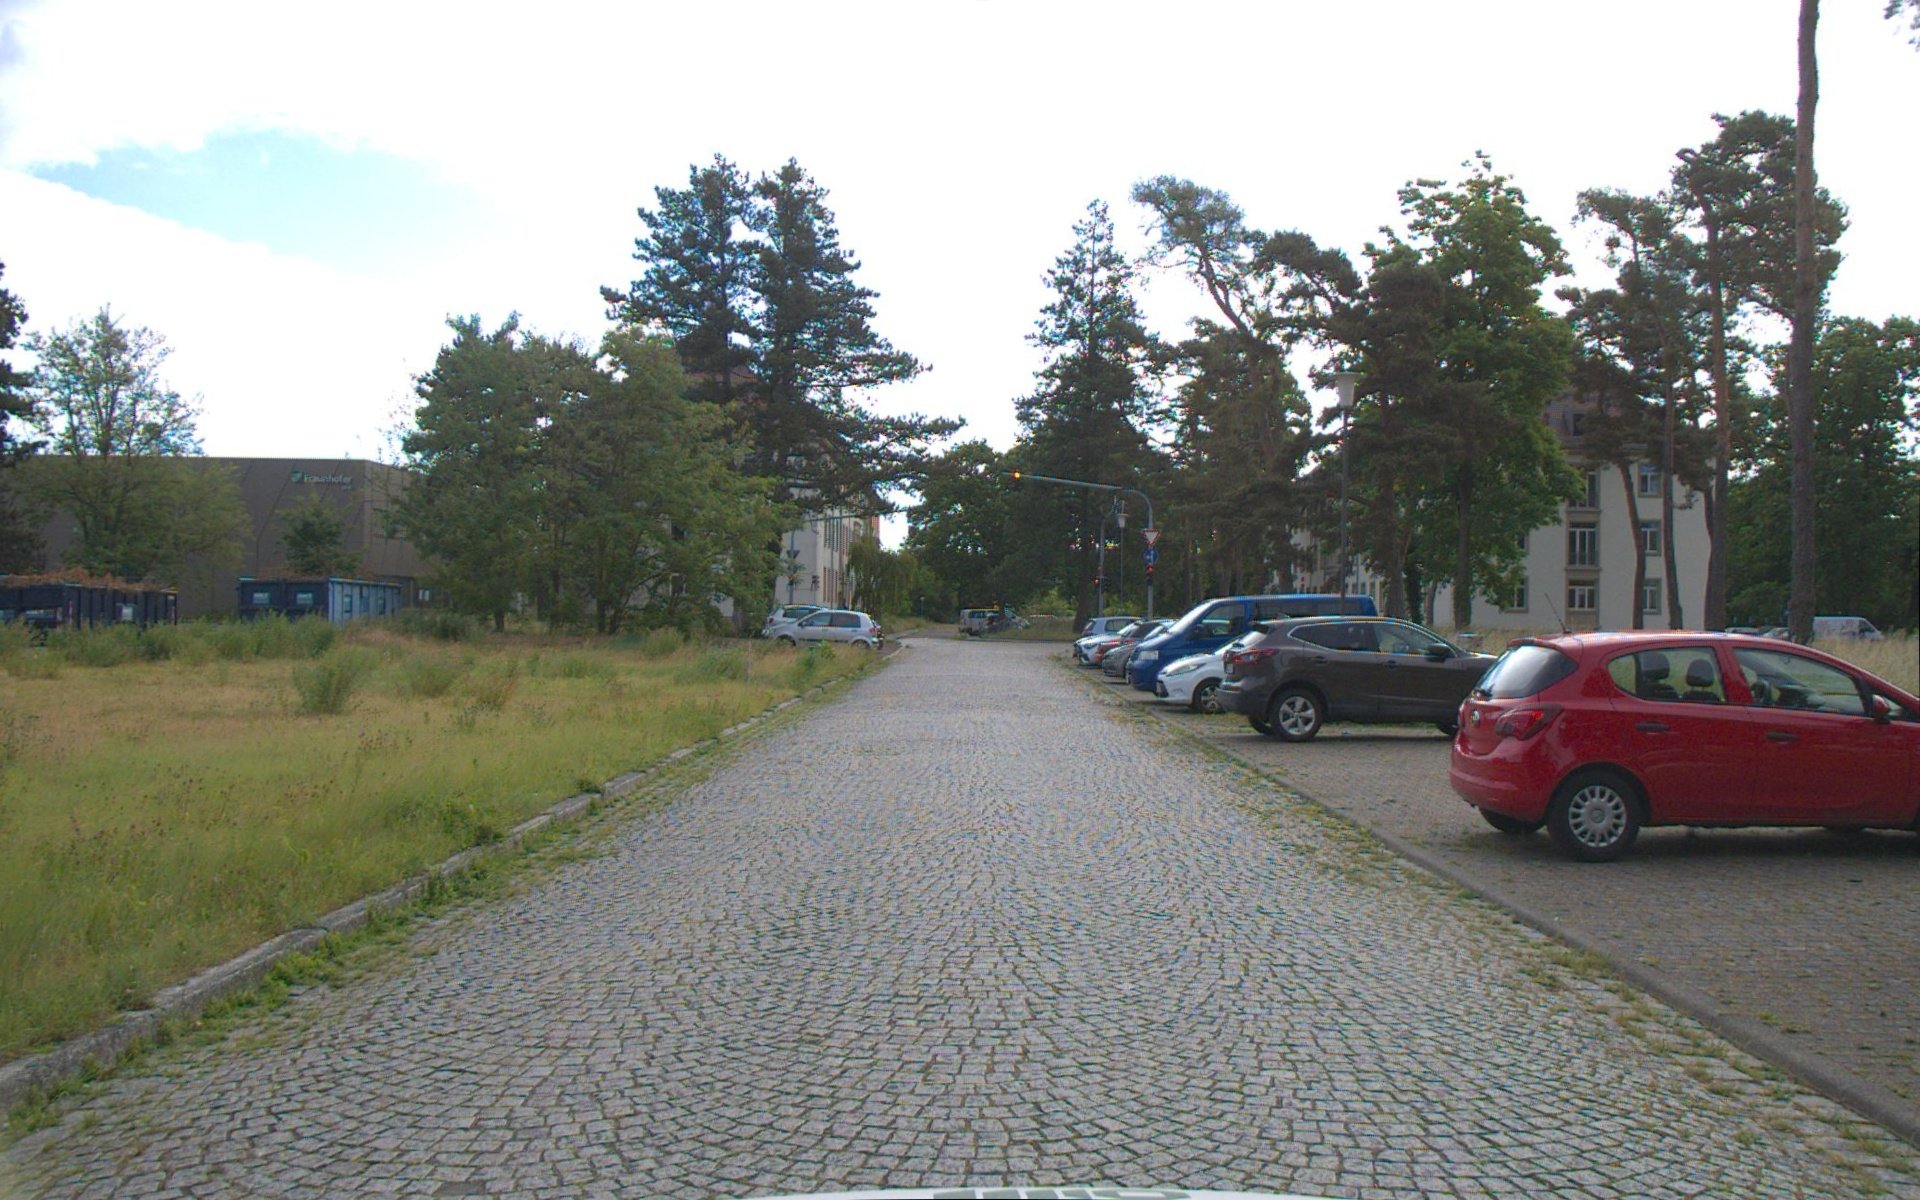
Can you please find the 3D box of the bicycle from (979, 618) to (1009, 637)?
[{"bbox_3d":[2.264,1.837,110.213,1.845,1.191,0.664,2,-1,-5],"label":"bicycle"}]

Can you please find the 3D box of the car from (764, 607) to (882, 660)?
[{"bbox_3d":[-4.417,1.063,53.695,3.646,1.506,1.672,3,-1,-3],"label":"car"}]

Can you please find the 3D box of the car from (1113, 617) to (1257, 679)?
[{"bbox_3d":[5.666,1.206,41.945,3.433,1.513,1.743,0,-1,0],"label":"car"}]

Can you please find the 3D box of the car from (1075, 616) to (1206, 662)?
[{"bbox_3d":[5.932,1.272,54.594,4.054,1.489,1.632,0,-1,-5],"label":"car"}]

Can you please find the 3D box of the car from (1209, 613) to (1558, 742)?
[{"bbox_3d":[5.526,0.985,21.965,4.118,1.623,1.952,0,0,-2],"label":"car"}]

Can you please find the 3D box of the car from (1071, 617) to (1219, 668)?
[{"bbox_3d":[5.483,1.258,49.275,4.105,1.462,1.752,0,0,-7],"label":"car"}]

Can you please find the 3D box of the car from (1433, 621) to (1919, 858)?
[{"bbox_3d":[5.517,0.915,11.660,3.843,1.523,1.784,0,-1,-1],"label":"car"}]

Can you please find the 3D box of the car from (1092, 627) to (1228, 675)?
[{"bbox_3d":[5.364,1.375,44.570,3.512,1.244,1.629,0,0,1],"label":"car"}]

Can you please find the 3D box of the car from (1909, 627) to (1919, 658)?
[{"bbox_3d":[58.100,2.566,96.780,4.047,1.835,1.900,2,-1,2],"label":"car"}]

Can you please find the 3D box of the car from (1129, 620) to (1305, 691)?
[{"bbox_3d":[5.566,1.198,36.173,3.578,1.505,1.765,0,0,0],"label":"car"}]

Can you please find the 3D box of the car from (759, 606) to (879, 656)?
[{"bbox_3d":[-5.035,1.097,59.098,4.214,1.763,1.651,0,-1,-5],"label":"car"}]

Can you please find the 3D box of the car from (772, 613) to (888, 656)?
[{"bbox_3d":[-4.836,1.273,61.549,4.214,1.581,1.810,0,-1,-6],"label":"car"}]

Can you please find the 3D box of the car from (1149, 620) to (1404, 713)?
[{"bbox_3d":[5.365,1.113,28.321,4.015,1.505,1.721,0,-1,-3],"label":"car"}]

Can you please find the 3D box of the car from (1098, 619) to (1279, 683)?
[{"bbox_3d":[5.351,1.192,39.078,4.045,1.472,1.766,0,0,1],"label":"car"}]

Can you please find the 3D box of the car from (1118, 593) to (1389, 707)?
[{"bbox_3d":[5.406,0.911,30.868,4.698,2.039,1.965,0,-1,-2],"label":"car"}]

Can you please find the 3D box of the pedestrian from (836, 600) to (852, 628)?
[{"bbox_3d":[-8.357,1.010,119.264,1.052,1.993,1.121,2,-1,0],"label":"pedestrian"}]

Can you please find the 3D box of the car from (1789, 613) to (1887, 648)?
[{"bbox_3d":[57.040,1.956,107.524,5.191,2.055,2.106,2,-1,1],"label":"car"}]

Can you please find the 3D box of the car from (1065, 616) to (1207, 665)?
[{"bbox_3d":[5.519,1.262,52.042,4.152,1.505,1.705,0,-1,-11],"label":"car"}]

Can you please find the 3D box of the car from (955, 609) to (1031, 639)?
[{"bbox_3d":[2.410,1.754,121.522,5.281,2.138,2.172,1,-1,-12],"label":"car"}]
